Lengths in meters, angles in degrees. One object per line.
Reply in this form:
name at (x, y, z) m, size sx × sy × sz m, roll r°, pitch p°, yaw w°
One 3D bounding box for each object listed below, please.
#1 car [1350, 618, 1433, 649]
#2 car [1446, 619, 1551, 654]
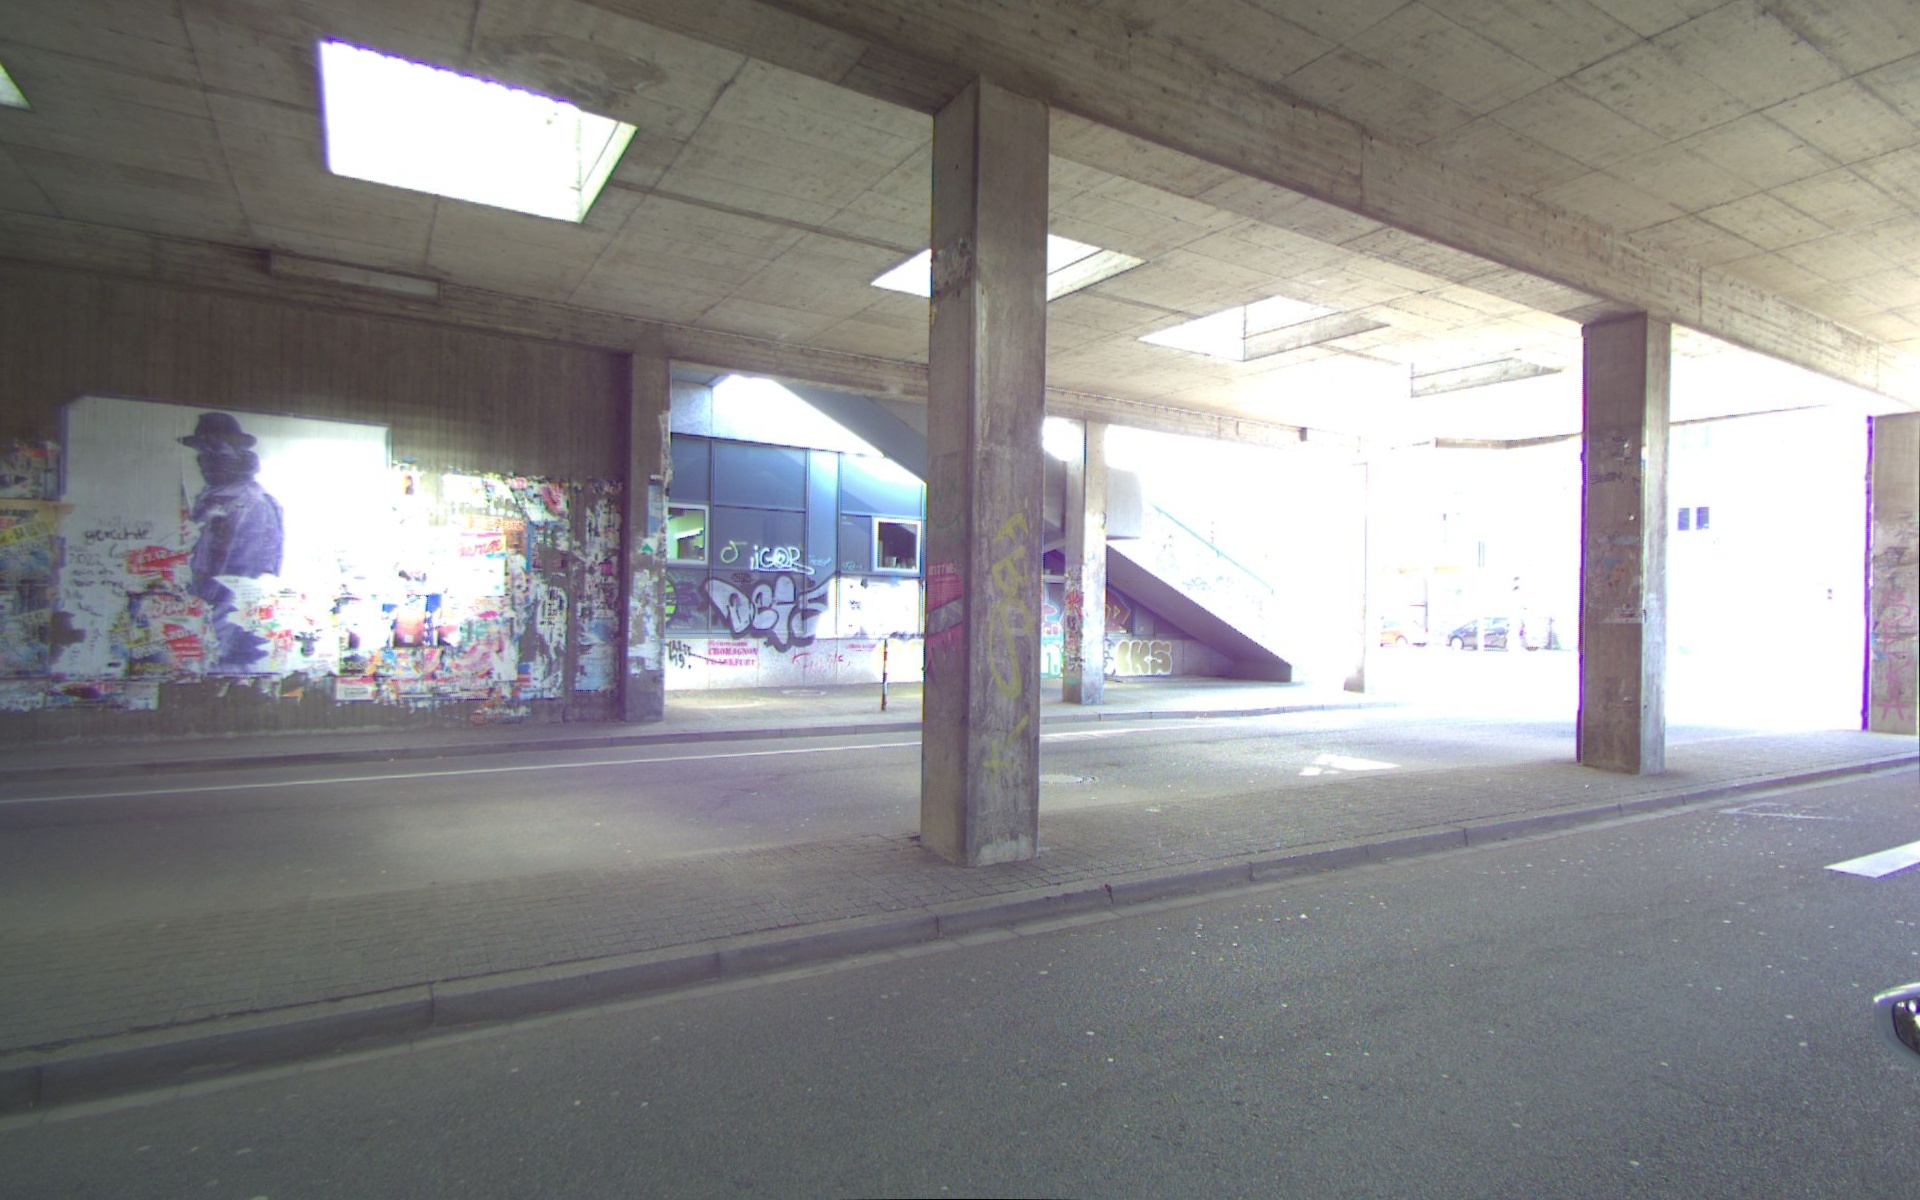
car at (22.555, 1.728, 52.609) m, size 1.730 × 1.495 × 3.741 m, roll 2°, pitch -1°, yaw -31°
car at (25.468, 1.710, 47.654) m, size 1.718 × 1.495 × 4.089 m, roll 2°, pitch -1°, yaw -31°
